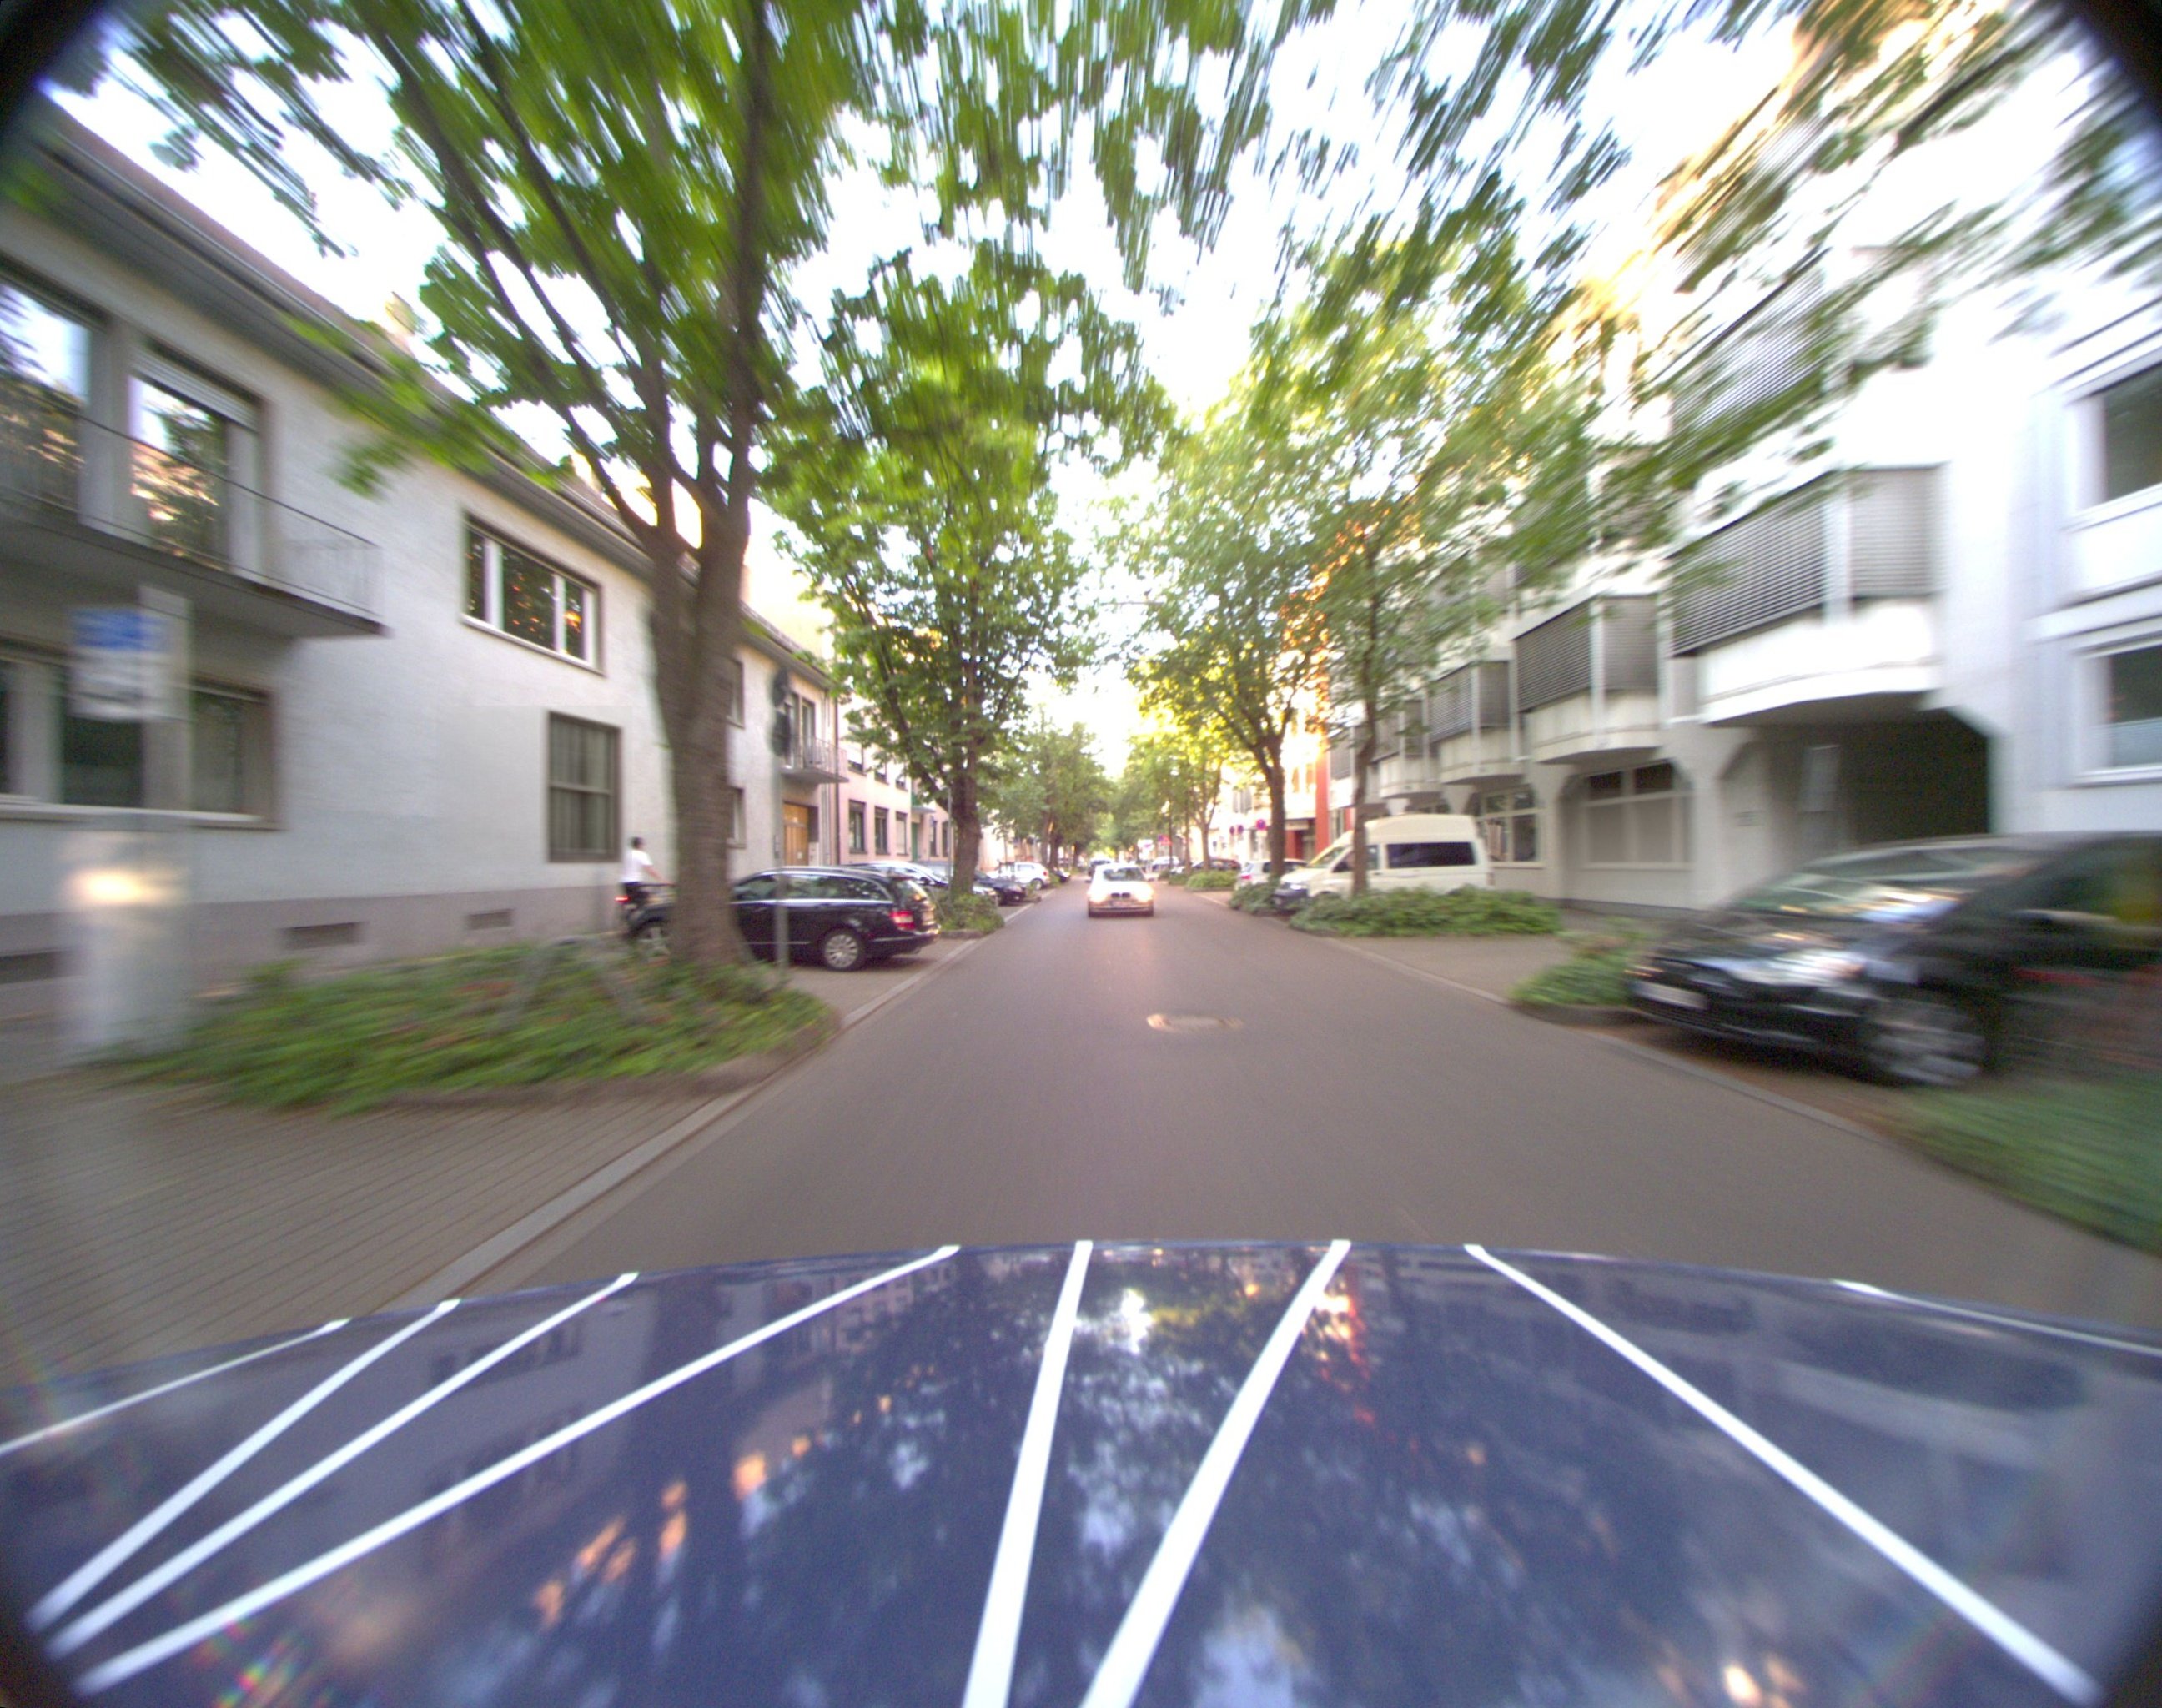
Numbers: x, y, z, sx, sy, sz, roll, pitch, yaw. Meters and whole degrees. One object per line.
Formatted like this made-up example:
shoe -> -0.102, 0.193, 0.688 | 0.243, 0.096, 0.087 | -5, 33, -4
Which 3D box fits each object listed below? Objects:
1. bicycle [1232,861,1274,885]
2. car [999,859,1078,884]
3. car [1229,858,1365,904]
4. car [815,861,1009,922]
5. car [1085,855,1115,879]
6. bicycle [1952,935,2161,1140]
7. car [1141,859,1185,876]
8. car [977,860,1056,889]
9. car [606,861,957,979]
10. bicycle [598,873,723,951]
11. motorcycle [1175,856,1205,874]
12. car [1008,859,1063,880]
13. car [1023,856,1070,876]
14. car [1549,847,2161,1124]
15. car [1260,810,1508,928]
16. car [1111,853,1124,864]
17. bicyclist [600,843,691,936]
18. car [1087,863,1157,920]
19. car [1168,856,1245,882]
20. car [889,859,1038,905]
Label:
bicycle -> 8.693, 0.942, 38.392 | 1.964, 1.169, 0.656 | -1, 0, -5
car -> -2.680, 1.106, 48.661 | 4.886, 1.488, 1.988 | -1, 0, 2
car -> 7.384, 0.924, 26.302 | 4.178, 1.460, 1.953 | -1, 0, 2
car -> -4.441, 0.963, 20.429 | 4.688, 1.380, 2.001 | 2, 0, 3
car -> 1.426, 0.954, 55.855 | 1.892, 1.635, 4.002 | -2, 0, 6
bicycle -> 5.277, 0.826, 3.575 | 1.556, 0.826, 0.613 | -1, 0, 5
car -> 8.881, 1.417, 82.173 | 4.601, 1.725, 2.142 | -1, 0, 7
car -> -3.409, 1.079, 40.703 | 4.092, 1.482, 1.798 | -1, 0, -1
car -> -4.341, 0.901, 11.457 | 4.467, 1.419, 2.012 | 2, 0, 6
bicycle -> -7.612, 0.982, 14.008 | 0.622, 1.157, 3.400 | -1, 0, -4
motorcycle -> 9.035, 0.881, 62.894 | 2.234, 1.461, 0.900 | -1, 0, -21
car -> -3.182, 1.087, 53.527 | 3.846, 1.403, 1.712 | 0, 0, -3
car -> -2.799, 1.011, 62.207 | 3.731, 1.544, 1.754 | -1, 0, -1
car -> 6.588, 0.799, 5.628 | 4.864, 1.612, 2.160 | -1, 0, 3
car -> 7.024, 0.352, 18.068 | 5.015, 2.558, 2.121 | -1, 0, 2
car -> 5.617, 0.722, 118.466 | 1.787, 1.678, 4.386 | -1, 0, 0
bicyclist -> -7.799, 0.615, 13.665 | 0.973, 1.595, 1.136 | -1, 0, -2
car -> 1.107, 0.974, 21.225 | 1.736, 1.363, 4.333 | -1, 0, 2
car -> 7.735, 0.911, 47.182 | 4.520, 1.517, 1.872 | -1, 0, 1
car -> -4.066, 0.948, 26.887 | 4.850, 1.439, 2.042 | 1, 0, 4
